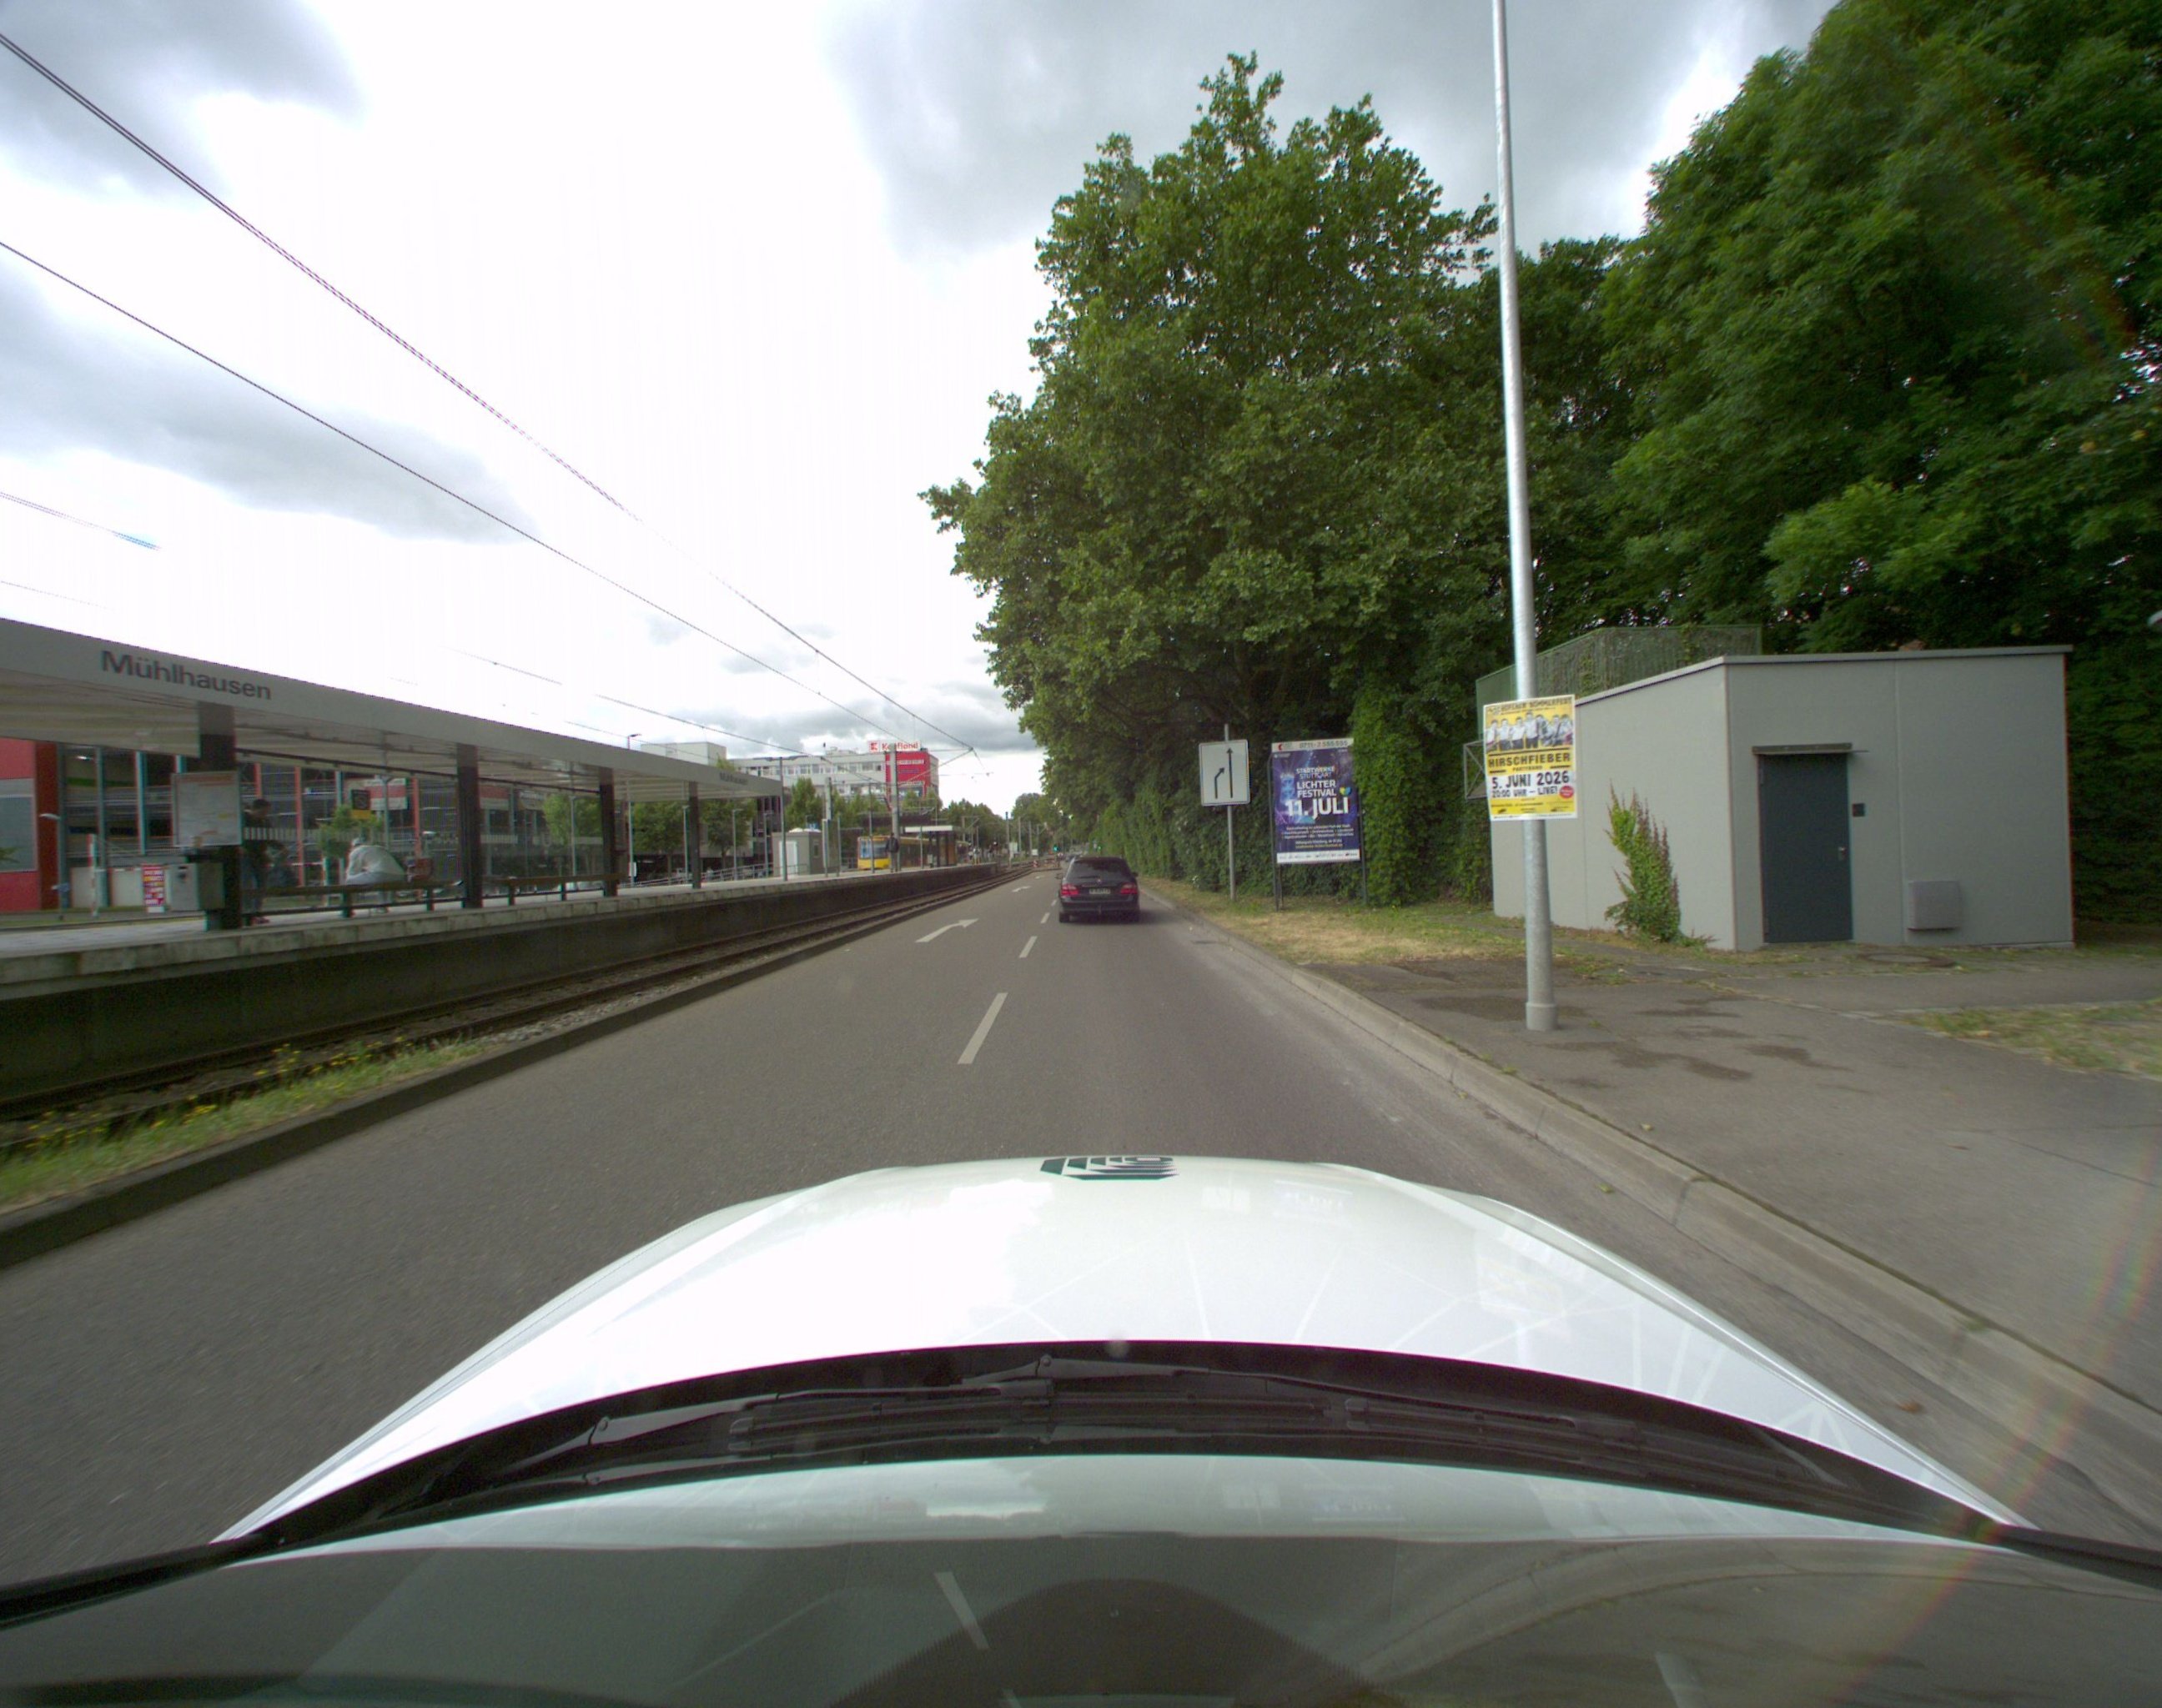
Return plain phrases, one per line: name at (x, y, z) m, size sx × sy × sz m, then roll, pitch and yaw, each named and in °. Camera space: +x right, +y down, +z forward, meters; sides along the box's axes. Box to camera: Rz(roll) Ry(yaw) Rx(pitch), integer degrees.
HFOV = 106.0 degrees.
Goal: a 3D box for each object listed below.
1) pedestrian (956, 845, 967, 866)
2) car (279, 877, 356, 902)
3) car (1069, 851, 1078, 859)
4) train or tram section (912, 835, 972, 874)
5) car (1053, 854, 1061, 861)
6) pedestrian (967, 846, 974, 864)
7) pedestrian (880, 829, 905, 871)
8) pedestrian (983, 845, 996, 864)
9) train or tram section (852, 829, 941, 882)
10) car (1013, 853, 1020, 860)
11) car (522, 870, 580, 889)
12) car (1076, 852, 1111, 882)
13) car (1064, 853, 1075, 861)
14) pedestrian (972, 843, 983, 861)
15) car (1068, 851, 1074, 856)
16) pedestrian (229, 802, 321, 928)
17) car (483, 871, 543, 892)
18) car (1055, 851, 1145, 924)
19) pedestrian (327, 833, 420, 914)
pedestrian at (-10.037, 0.107, 68.446) m, size 0.769 × 1.678 × 0.790 m, roll -4°, pitch 0°, yaw -1°
car at (-51.079, 2.368, 54.589) m, size 1.710 × 1.415 × 3.560 m, roll -4°, pitch 0°, yaw 1°
car at (-1.709, 0.234, 177.810) m, size 1.818 × 1.530 × 3.929 m, roll -1°, pitch 0°, yaw 1°
train or tram section at (-15.043, 0.109, 90.019) m, size 2.746 × 3.829 × 18.637 m, roll -2°, pitch 0°, yaw 2°
car at (-5.880, 0.907, 201.993) m, size 1.818 × 1.530 × 3.929 m, roll -1°, pitch 0°, yaw 1°
pedestrian at (-9.420, 0.072, 69.457) m, size 0.473 × 1.483 × 0.543 m, roll -4°, pitch -1°, yaw 2°
pedestrian at (-8.065, -0.166, 34.868) m, size 0.746 × 1.744 × 0.937 m, roll -4°, pitch 0°, yaw 0°
pedestrian at (-8.412, 0.018, 75.007) m, size 0.736 × 1.678 × 0.881 m, roll -4°, pitch -1°, yaw 43°
train or tram section at (-15.643, 0.089, 71.376) m, size 2.746 × 3.882 × 18.640 m, roll -3°, pitch 0°, yaw 2°
car at (-20.347, 0.744, 256.912) m, size 1.987 × 2.013 × 3.999 m, roll -4°, pitch 0°, yaw -1°
car at (-43.213, 2.059, 66.501) m, size 1.987 × 1.310 × 4.000 m, roll -4°, pitch 0°, yaw 1°
car at (0.638, 0.651, 44.712) m, size 1.820 × 1.530 × 4.414 m, roll -1°, pitch 0°, yaw -1°
car at (-2.169, 0.546, 154.019) m, size 1.818 × 1.530 × 4.417 m, roll -2°, pitch 0°, yaw 1°
pedestrian at (-8.706, -0.150, 68.505) m, size 0.514 × 1.482 × 0.585 m, roll -4°, pitch -1°, yaw 38°
car at (-3.062, -0.117, 246.424) m, size 1.818 × 1.530 × 3.987 m, roll -1°, pitch 0°, yaw 1°
pedestrian at (-10.879, 0.146, 11.011) m, size 0.568 × 1.620 × 0.585 m, roll -4°, pitch -1°, yaw -1°
car at (-46.060, 2.212, 66.164) m, size 1.987 × 1.473 × 4.000 m, roll -4°, pitch 0°, yaw 1°
car at (0.389, 0.684, 19.205) m, size 1.828 × 1.478 × 4.414 m, roll -2°, pitch 0°, yaw -1°
pedestrian at (-10.999, 0.293, 12.681) m, size 0.766 × 1.189 × 0.729 m, roll -2°, pitch 0°, yaw 3°
